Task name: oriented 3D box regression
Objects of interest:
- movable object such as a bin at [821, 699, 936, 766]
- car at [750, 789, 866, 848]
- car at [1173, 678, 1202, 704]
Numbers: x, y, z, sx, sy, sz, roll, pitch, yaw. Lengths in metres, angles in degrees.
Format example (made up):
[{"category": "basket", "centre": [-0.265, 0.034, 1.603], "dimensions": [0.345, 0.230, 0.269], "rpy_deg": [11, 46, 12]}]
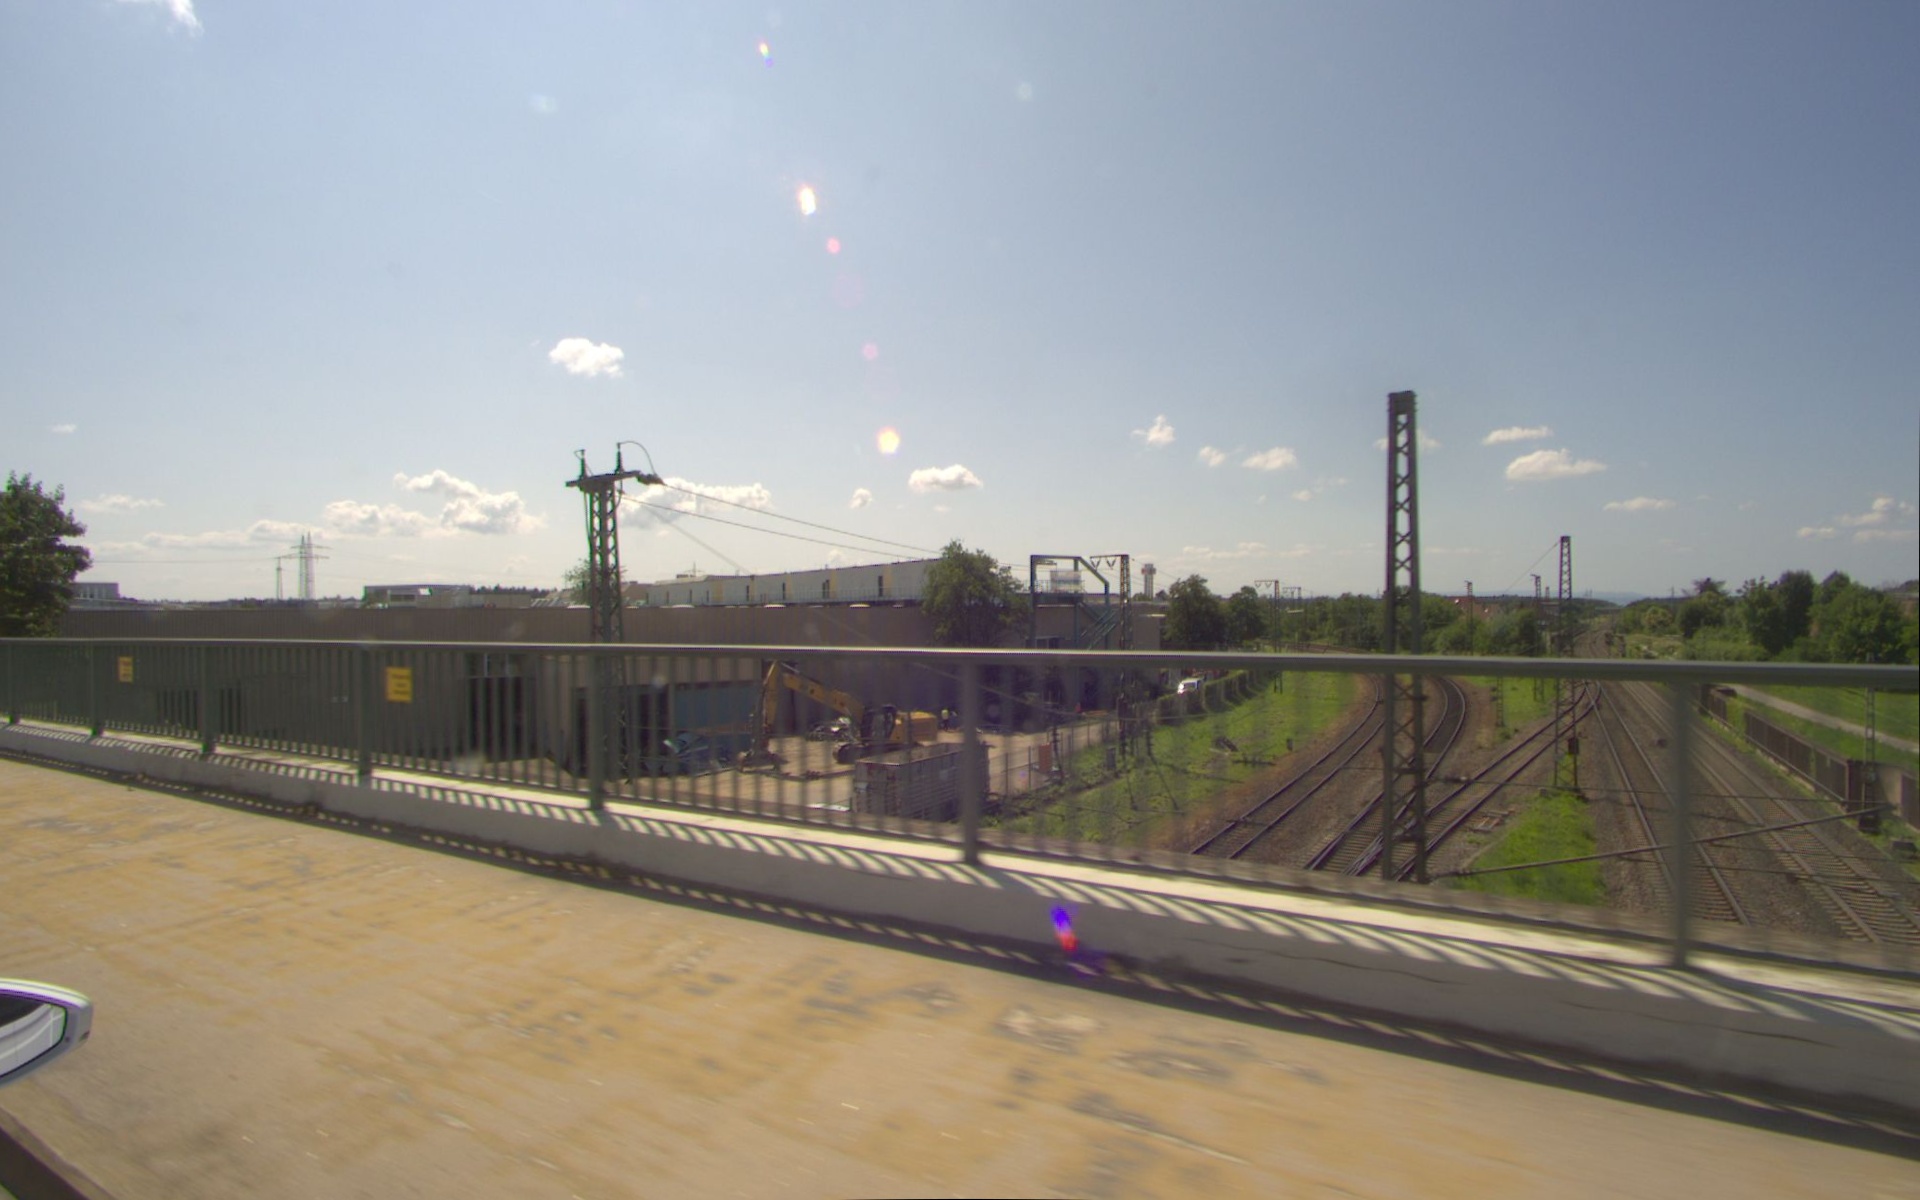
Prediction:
[{"category": "movable object such as a bin", "centre": [-4.916, 7.883, 60.324], "dimensions": [6.136, 3.334, 3.230], "rpy_deg": [0, 1, -31]}, {"category": "car", "centre": [-5.909, 8.424, 38.921], "dimensions": [4.186, 1.614, 1.991], "rpy_deg": [-1, -5, 34]}, {"category": "car", "centre": [22.070, 8.791, 97.047], "dimensions": [1.967, 2.040, 3.988], "rpy_deg": [-1, 0, 23]}]
